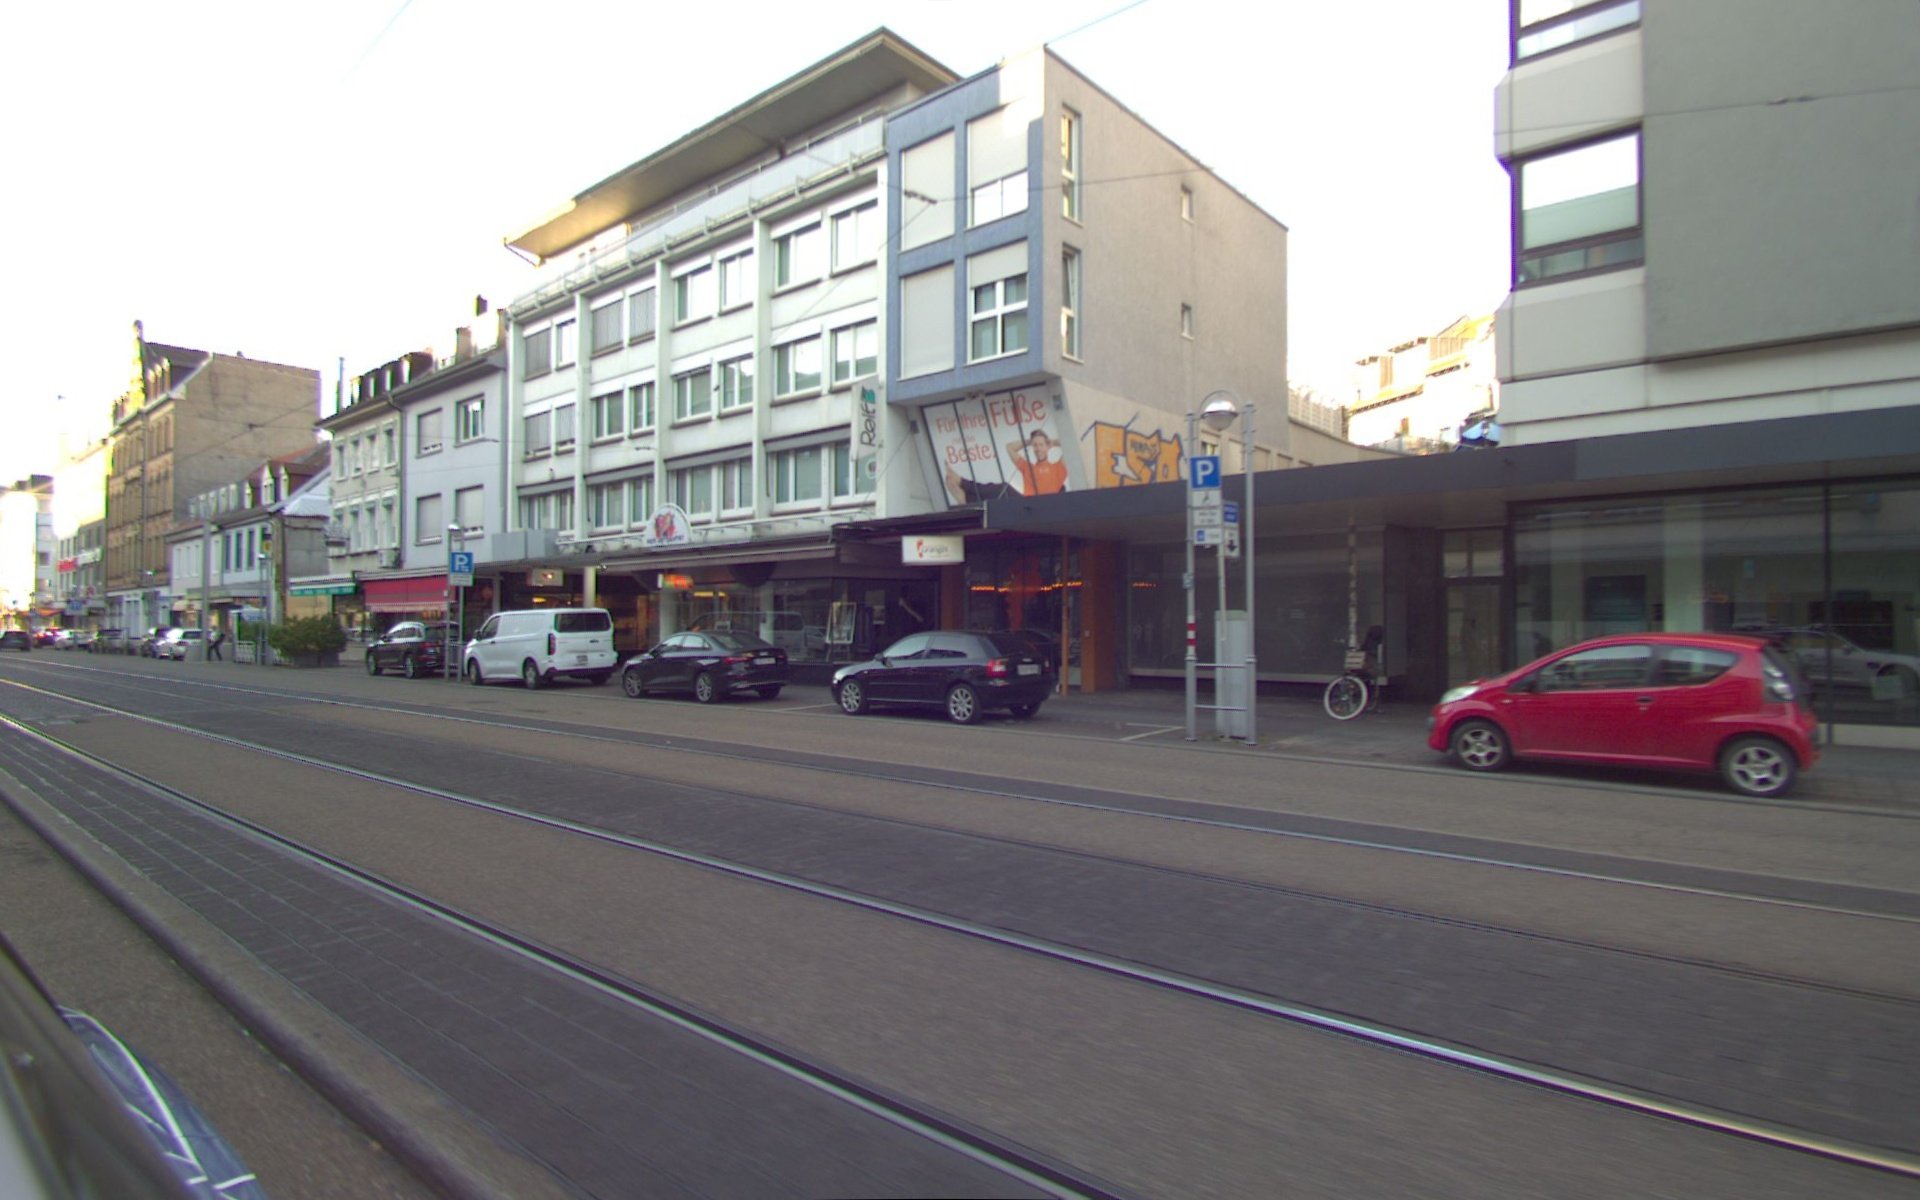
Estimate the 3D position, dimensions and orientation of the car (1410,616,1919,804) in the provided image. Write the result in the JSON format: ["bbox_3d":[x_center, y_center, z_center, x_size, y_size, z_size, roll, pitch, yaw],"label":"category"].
[{"bbox_3d":[7.025,0.961,10.224,4.213,1.523,1.668,-2,-1,41],"label":"car"}]

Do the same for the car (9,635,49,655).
[{"bbox_3d":[-77.183,3.726,83.886,3.997,1.564,1.973,-2,-2,41],"label":"car"}]

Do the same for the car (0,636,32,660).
[{"bbox_3d":[-62.675,3.135,66.567,3.997,1.564,1.973,-2,-2,41],"label":"car"}]

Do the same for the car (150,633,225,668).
[{"bbox_3d":[-37.222,2.377,48.701,4.876,1.556,1.972,-2,-1,42],"label":"car"}]

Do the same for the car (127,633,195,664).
[{"bbox_3d":[-41.269,2.475,52.235,4.550,1.556,1.889,-2,-2,41],"label":"car"}]

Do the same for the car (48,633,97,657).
[{"bbox_3d":[-61.613,3.108,70.239,4.204,1.564,1.973,-2,-2,41],"label":"car"}]

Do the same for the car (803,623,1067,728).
[{"bbox_3d":[-0.530,1.170,16.882,4.444,1.523,1.668,-2,-2,41],"label":"car"}]

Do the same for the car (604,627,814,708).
[{"bbox_3d":[-5.331,1.342,21.218,4.554,1.477,1.973,-2,-1,40],"label":"car"}]

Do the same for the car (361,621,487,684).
[{"bbox_3d":[-16.453,1.568,30.982,4.524,1.734,1.839,-2,-1,40],"label":"car"}]

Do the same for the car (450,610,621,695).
[{"bbox_3d":[-11.029,1.310,26.121,5.158,1.992,1.935,-2,-2,40],"label":"car"}]

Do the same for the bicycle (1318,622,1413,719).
[{"bbox_3d":[6.430,1.072,15.997,0.833,1.436,1.949,-2,-2,39],"label":"bicycle"}]

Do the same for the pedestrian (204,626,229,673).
[{"bbox_3d":[-32.534,2.166,44.287,0.811,2.029,0.714,1,-2,-34],"label":"pedestrian"}]

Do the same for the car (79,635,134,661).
[{"bbox_3d":[-52.618,2.941,62.385,3.997,1.564,1.973,-2,-2,41],"label":"car"}]
